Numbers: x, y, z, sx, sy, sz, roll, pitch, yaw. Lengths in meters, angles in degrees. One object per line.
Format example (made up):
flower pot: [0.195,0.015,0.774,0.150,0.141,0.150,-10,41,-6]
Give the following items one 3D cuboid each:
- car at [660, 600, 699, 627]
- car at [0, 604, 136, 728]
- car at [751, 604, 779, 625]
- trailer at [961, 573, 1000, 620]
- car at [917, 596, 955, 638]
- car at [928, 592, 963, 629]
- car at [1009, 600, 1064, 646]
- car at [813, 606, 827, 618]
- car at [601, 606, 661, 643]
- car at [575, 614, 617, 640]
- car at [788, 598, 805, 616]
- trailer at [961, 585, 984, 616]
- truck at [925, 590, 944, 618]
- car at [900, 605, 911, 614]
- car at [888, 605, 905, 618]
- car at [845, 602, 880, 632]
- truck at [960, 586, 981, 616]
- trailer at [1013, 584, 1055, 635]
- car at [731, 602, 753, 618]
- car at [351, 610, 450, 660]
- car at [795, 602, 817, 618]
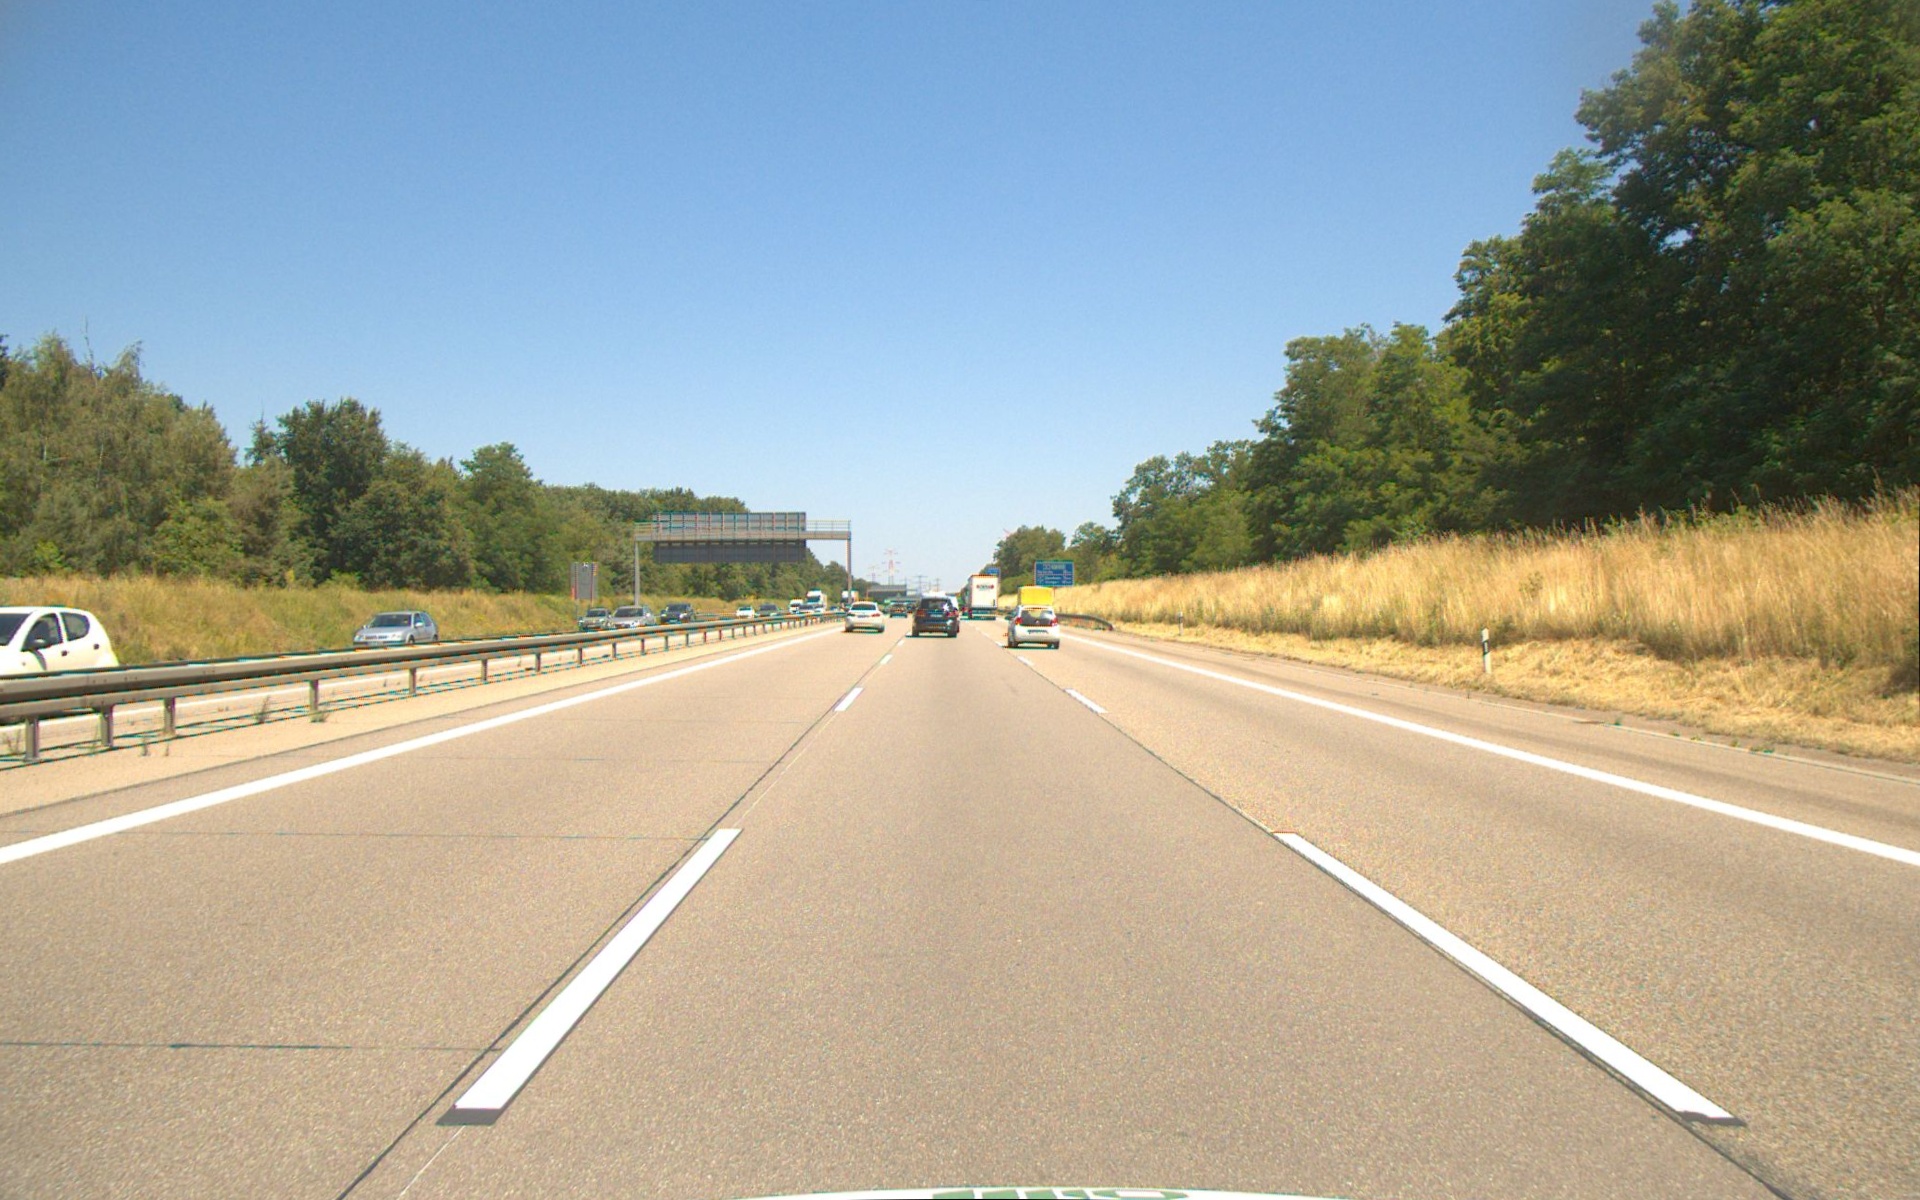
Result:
car: [-18.294,0.886,107.927,1.758,1.647,4.984,-3,0,-2]
car: [-12.330,0.835,21.420,1.486,1.493,3.639,-3,0,-1]
car: [-14.667,1.053,124.691,1.664,1.454,4.572,-3,0,-2]
trailer: [1.911,-0.286,159.592,3.219,4.293,13.561,1,-1,-1]
car: [-1.044,0.749,72.532,1.593,1.785,3.804,1,0,-1]
car: [-0.774,0.559,85.821,1.777,1.859,5.109,0,-1,-1]
car: [2.621,0.774,57.261,1.673,1.521,4.023,1,0,-1]
car: [-19.246,1.651,227.934,1.613,1.525,4.559,-3,0,-2]
car: [-14.646,1.063,73.914,1.726,1.485,5.119,-3,0,-2]
car: [-22.522,1.653,102.461,1.637,1.434,4.596,-3,0,-2]
car: [-23.778,1.019,240.279,1.947,2.381,5.808,-3,0,-2]
trailer: [1.563,0.155,215.399,2.628,3.904,12.006,1,-1,-1]
truck: [-2.784,0.417,177.367,2.018,2.965,7.001,0,-1,-1]
car: [-7.088,1.230,216.388,1.377,1.151,3.357,1,0,-1]
car: [-6.363,1.176,166.819,1.574,1.323,3.673,1,0,-1]
car: [-4.734,0.819,80.858,1.635,1.426,3.711,0,0,-2]
truck: [1.432,0.213,221.240,2.628,3.904,4.443,1,-1,-1]
trailer: [3.475,0.441,77.849,1.668,2.330,3.838,1,0,-2]
car: [-23.029,1.062,174.594,1.758,1.543,4.902,-3,0,-2]
car: [-17.806,1.086,52.852,1.726,1.432,4.351,-3,0,-2]
car: [-15.101,0.960,162.062,1.758,1.500,4.985,-3,0,-1]
